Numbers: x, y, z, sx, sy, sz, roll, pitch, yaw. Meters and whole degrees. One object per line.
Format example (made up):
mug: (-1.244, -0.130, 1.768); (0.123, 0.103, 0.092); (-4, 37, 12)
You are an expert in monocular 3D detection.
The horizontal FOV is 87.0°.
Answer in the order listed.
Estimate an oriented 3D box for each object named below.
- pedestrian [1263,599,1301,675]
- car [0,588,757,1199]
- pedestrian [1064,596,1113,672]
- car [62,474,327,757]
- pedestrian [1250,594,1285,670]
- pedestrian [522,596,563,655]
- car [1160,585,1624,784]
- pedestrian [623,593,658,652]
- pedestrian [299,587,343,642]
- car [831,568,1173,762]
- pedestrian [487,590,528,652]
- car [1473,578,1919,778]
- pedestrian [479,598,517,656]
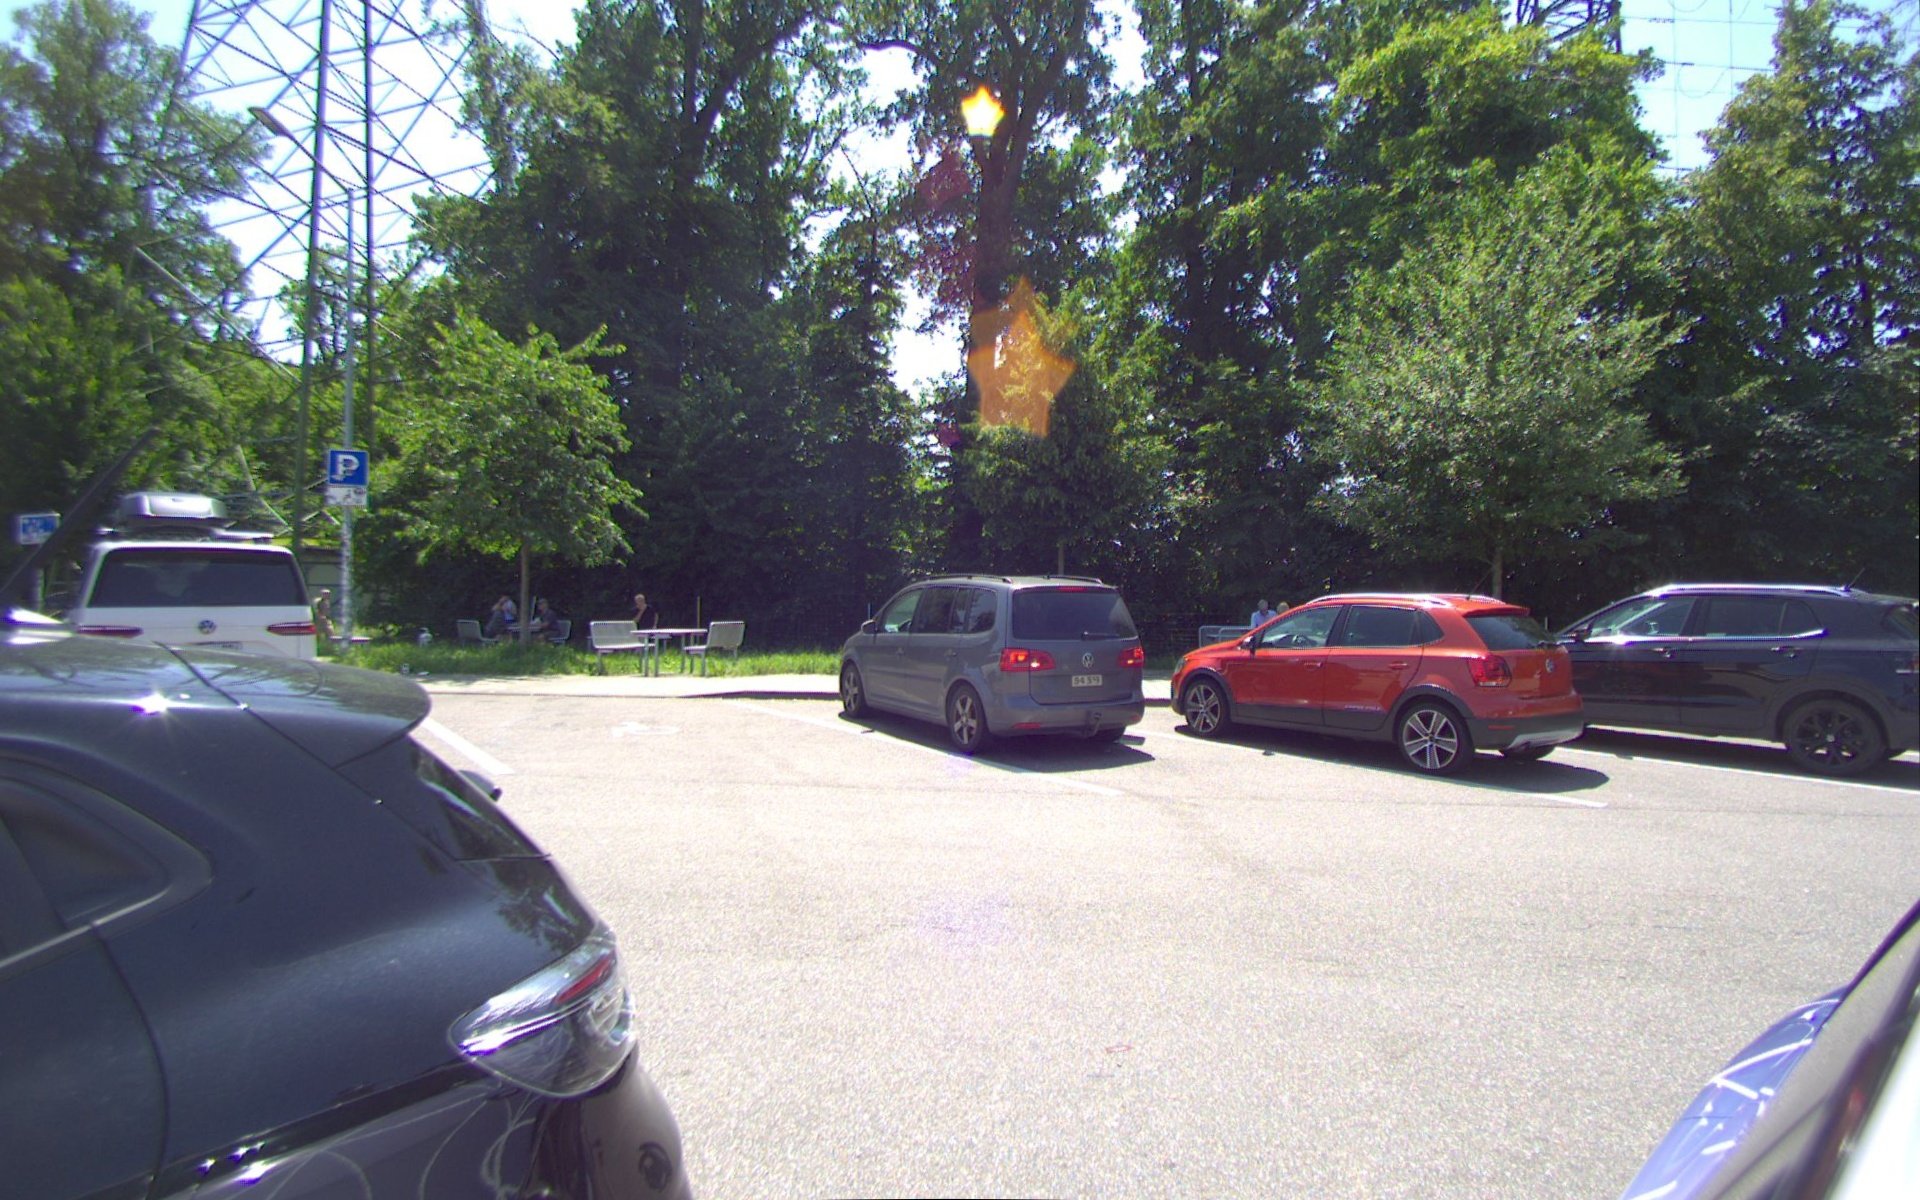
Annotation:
pedestrian: (5.681, 0.645, 17.882); (0.495, 1.316, 0.491); (1, -1, 0)
car: (-2.135, 0.722, 0.573); (1.615, 1.503, 3.706); (0, -1, 44)
pedestrian: (2.132, 0.561, 16.827); (0.660, 1.235, 0.682); (1, -2, -5)
car: (-8.072, 0.093, 10.613); (1.885, 2.353, 4.089); (0, 1, -40)
pedestrian: (5.763, 0.595, 19.006); (0.495, 1.393, 0.491); (1, -1, 0)
pedestrian: (-9.721, 0.586, 23.564); (0.722, 1.343, 0.669); (1, -1, -39)
car: (3.853, 0.610, 9.637); (1.604, 1.476, 3.810); (0, 1, -34)
pedestrian: (-6.710, 0.468, 21.268); (0.550, 1.229, 0.599); (1, -1, -1)
pedestrian: (-16.316, 0.370, 25.845); (0.599, 1.391, 0.705); (1, -1, 16)
car: (0.217, 0.505, 10.540); (1.717, 1.611, 3.961); (0, 1, -30)
pedestrian: (-10.952, 0.494, 24.501); (0.722, 1.478, 0.669); (1, -1, -39)
car: (7.232, 0.582, 9.661); (1.727, 1.566, 3.806); (0, 1, -39)
pedestrian: (-10.440, 0.602, 22.866); (0.630, 1.287, 0.579); (1, -1, -39)
